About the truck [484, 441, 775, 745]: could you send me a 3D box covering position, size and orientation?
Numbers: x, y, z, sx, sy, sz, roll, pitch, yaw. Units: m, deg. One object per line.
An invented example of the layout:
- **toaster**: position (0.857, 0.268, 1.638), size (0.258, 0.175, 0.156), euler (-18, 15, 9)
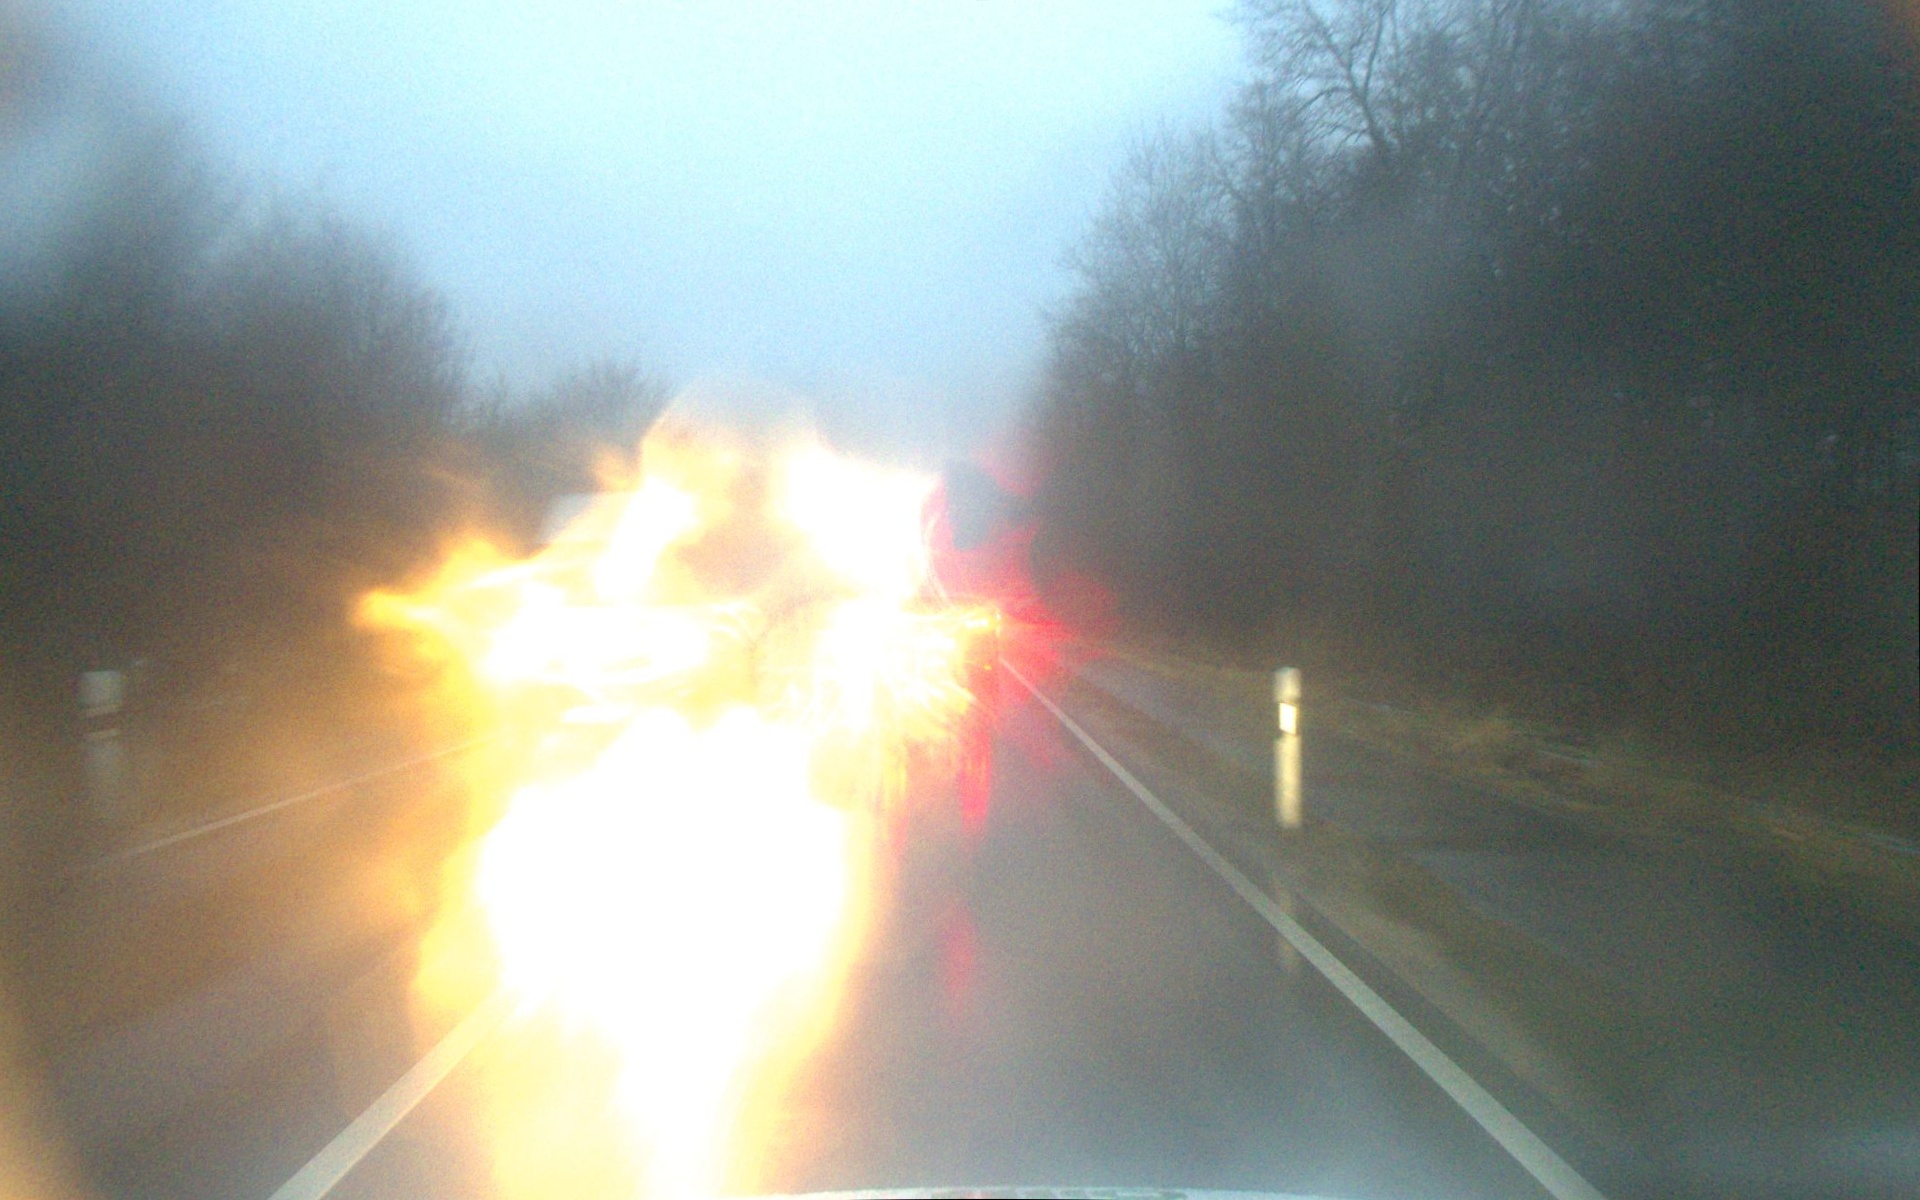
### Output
- **truck**: position (-3.496, -0.073, 19.028), size (2.060, 2.820, 6.870), euler (1, 0, -1)

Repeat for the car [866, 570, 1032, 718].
- **car**: position (-0.204, 0.582, 24.213), size (2.154, 1.910, 4.825), euler (1, 0, -1)

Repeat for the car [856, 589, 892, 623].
- **car**: position (-4.381, 0.299, 84.981), size (1.660, 1.587, 4.128), euler (1, 1, -1)
